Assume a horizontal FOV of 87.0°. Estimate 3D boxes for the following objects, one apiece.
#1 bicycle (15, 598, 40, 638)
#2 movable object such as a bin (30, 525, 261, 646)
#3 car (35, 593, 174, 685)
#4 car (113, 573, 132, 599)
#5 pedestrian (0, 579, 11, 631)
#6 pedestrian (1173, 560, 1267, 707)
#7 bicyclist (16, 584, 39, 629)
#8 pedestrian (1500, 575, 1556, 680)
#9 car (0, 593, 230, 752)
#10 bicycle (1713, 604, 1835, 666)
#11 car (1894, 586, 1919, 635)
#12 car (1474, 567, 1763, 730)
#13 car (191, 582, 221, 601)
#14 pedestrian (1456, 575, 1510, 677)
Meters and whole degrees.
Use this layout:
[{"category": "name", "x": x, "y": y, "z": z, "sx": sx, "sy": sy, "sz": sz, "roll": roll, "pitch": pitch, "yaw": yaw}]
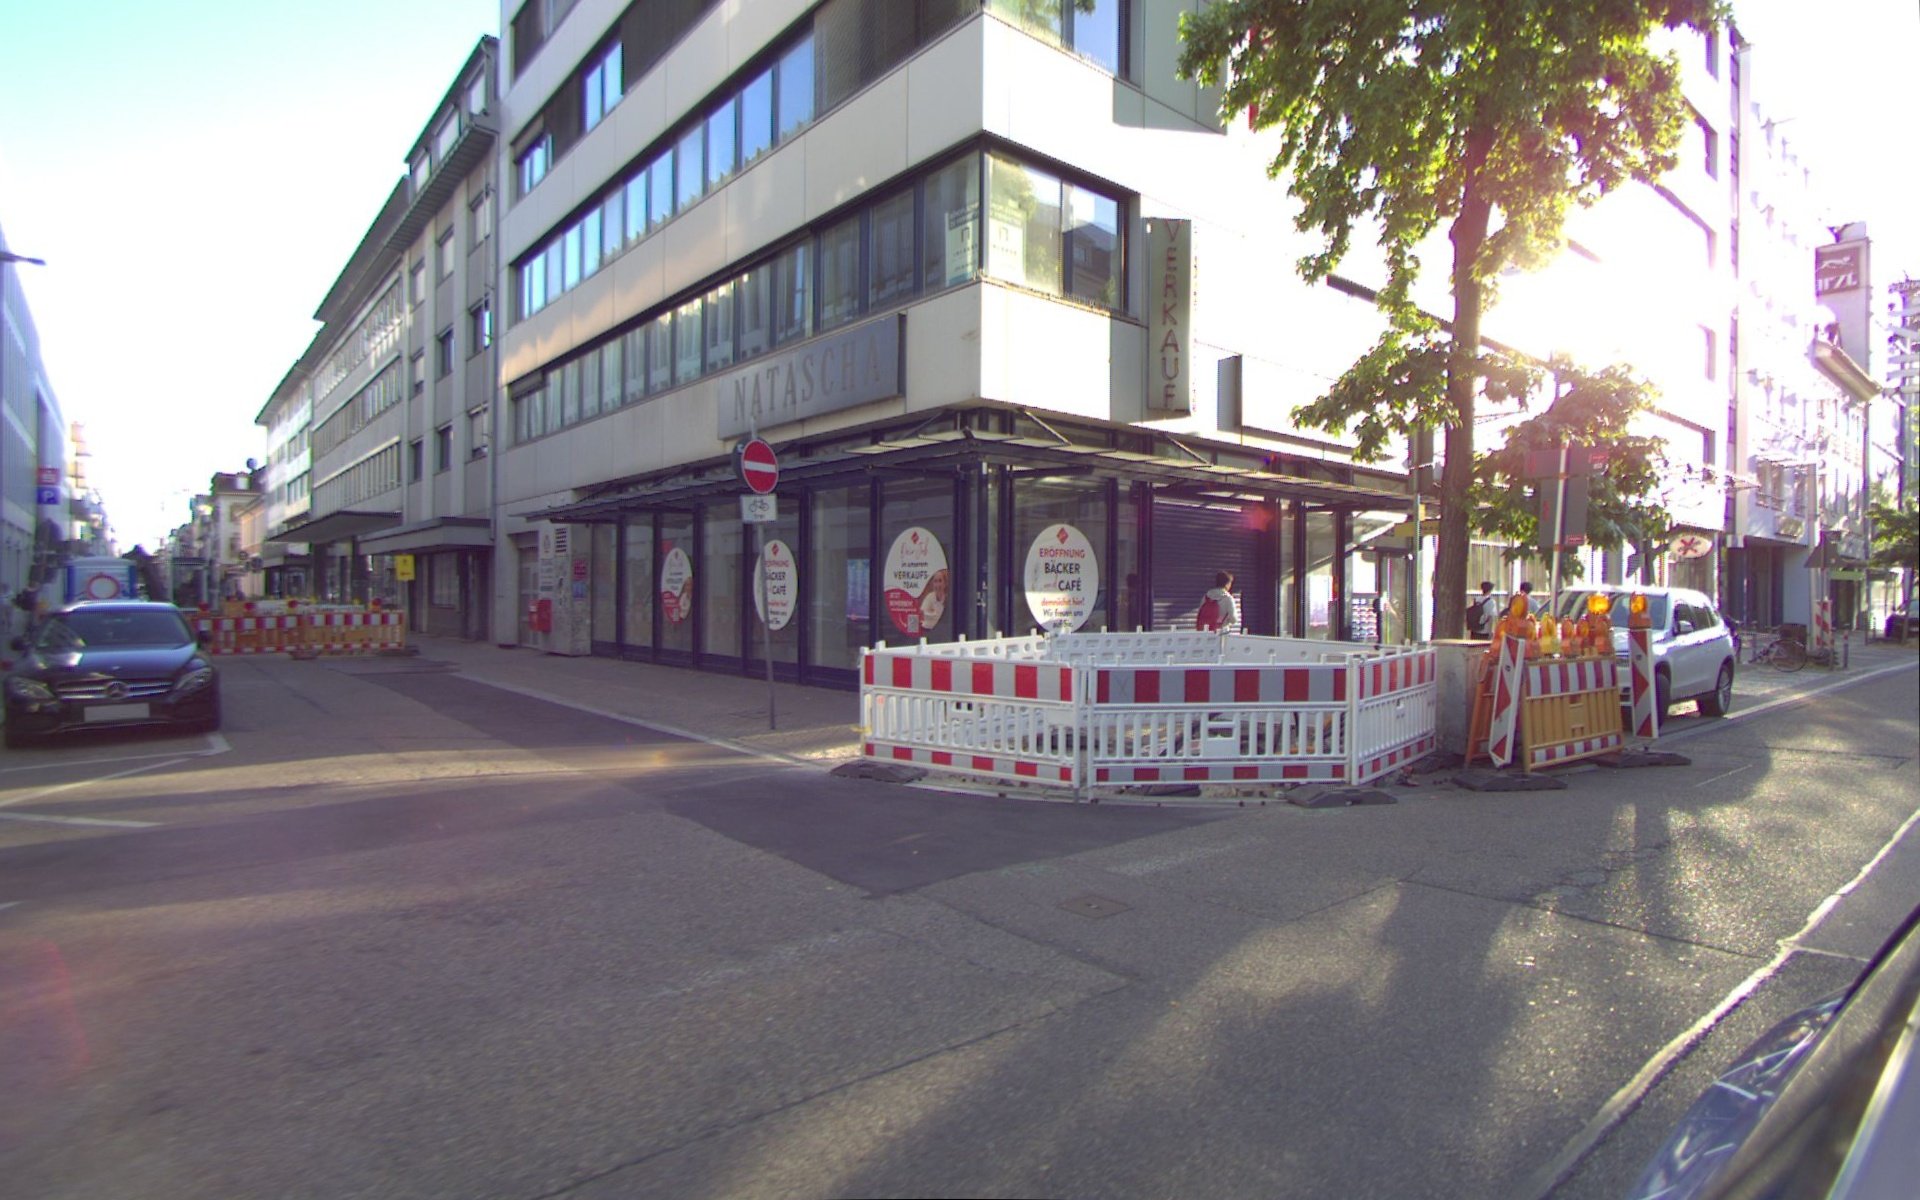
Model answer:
[{"category": "bicycle", "x": -28.815, "y": 0.538, "z": 31.279, "sx": 0.463, "sy": 1.200, "sz": 1.436, "roll": 0, "pitch": 0, "yaw": -39}, {"category": "movable object such as a bin", "x": -22.878, "y": -0.394, "z": 29.047, "sx": 2.766, "sy": 2.946, "sz": 8.225, "roll": 0, "pitch": 0, "yaw": -21}, {"category": "car", "x": -15.795, "y": 0.615, "z": 18.696, "sx": 1.766, "sy": 1.436, "sz": 4.323, "roll": -2, "pitch": 2, "yaw": -41}, {"category": "car", "x": -103.747, "y": -1.678, "z": 125.364, "sx": 1.796, "sy": 3.169, "sz": 5.088, "roll": 0, "pitch": 0, "yaw": -40}, {"category": "pedestrian", "x": -32.354, "y": 0.159, "z": 34.091, "sx": 0.485, "sy": 1.756, "sz": 0.639, "roll": 0, "pitch": 0, "yaw": -39}, {"category": "pedestrian", "x": 3.540, "y": 0.427, "z": 13.788, "sx": 0.901, "sy": 1.921, "sz": 0.836, "roll": 1, "pitch": 1, "yaw": -37}, {"category": "bicyclist", "x": -28.784, "y": 0.188, "z": 31.242, "sx": 0.463, "sy": 1.387, "sz": 0.639, "roll": 0, "pitch": 0, "yaw": -39}, {"category": "pedestrian", "x": 10.295, "y": 0.475, "z": 18.357, "sx": 0.623, "sy": 1.853, "sz": 0.706, "roll": 0, "pitch": 0, "yaw": -40}, {"category": "car", "x": -9.846, "y": 0.674, "z": 11.798, "sx": 1.766, "sy": 1.436, "sz": 4.323, "roll": -2, "pitch": 2, "yaw": -41}, {"category": "bicycle", "x": 17.274, "y": 0.719, "z": 21.515, "sx": 0.824, "sy": 1.148, "sz": 1.820, "roll": -1, "pitch": 3, "yaw": -32}, {"category": "car", "x": 36.341, "y": 0.418, "z": 37.453, "sx": 4.788, "sy": 1.709, "sz": 1.985, "roll": 0, "pitch": 3, "yaw": -40}, {"category": "car", "x": 9.023, "y": 0.516, "z": 13.688, "sx": 4.822, "sy": 1.758, "sz": 2.027, "roll": 0, "pitch": 3, "yaw": -42}, {"category": "car", "x": -64.344, "y": -0.724, "z": 86.322, "sx": 1.796, "sy": 1.638, "sz": 4.079, "roll": 0, "pitch": 0, "yaw": -40}, {"category": "pedestrian", "x": 9.710, "y": 0.462, "z": 18.793, "sx": 0.623, "sy": 1.853, "sz": 0.689, "roll": 0, "pitch": 0, "yaw": -40}]
